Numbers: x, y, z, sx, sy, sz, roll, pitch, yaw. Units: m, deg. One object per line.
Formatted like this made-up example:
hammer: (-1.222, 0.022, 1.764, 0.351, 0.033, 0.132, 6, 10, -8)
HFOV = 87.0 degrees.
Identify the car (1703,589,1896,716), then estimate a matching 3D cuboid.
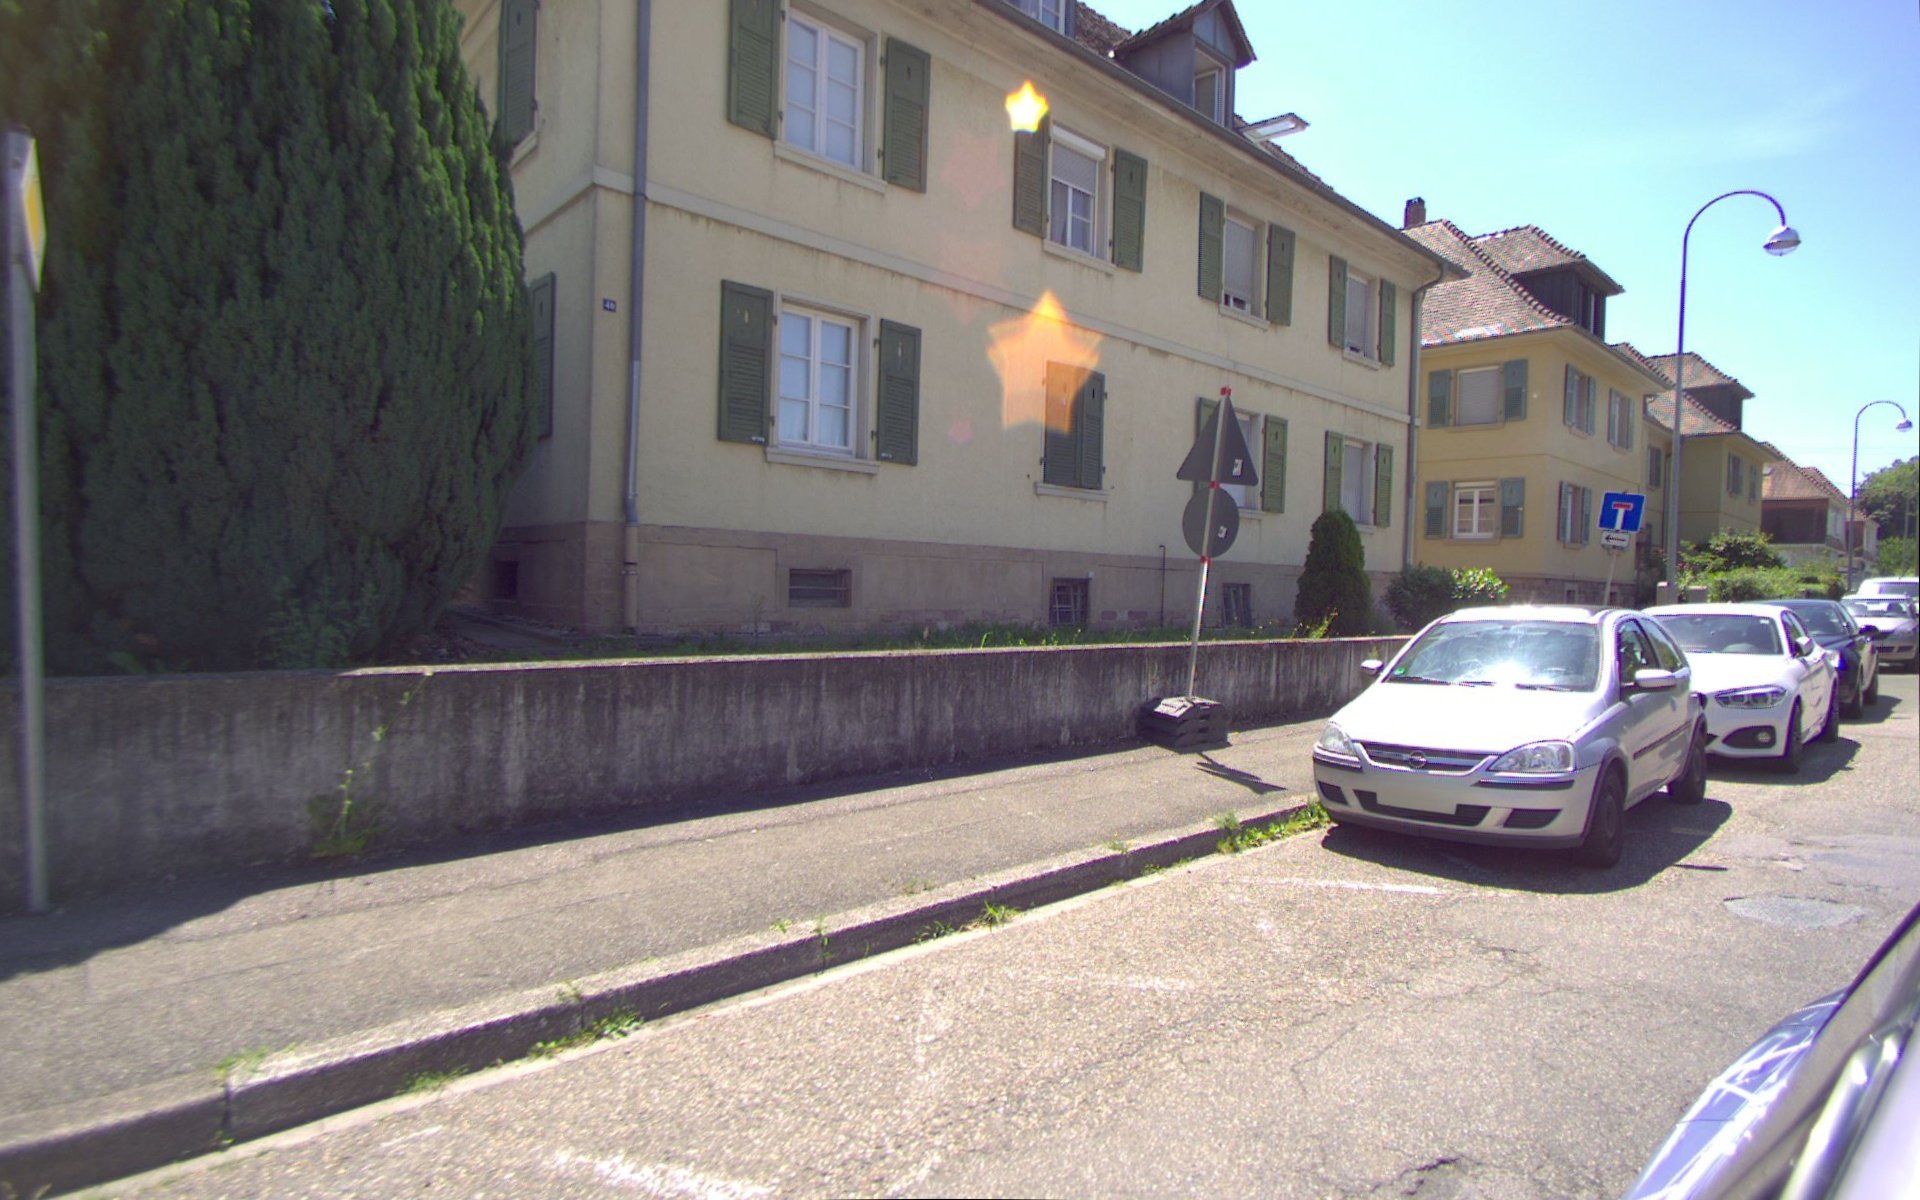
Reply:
car: (11.401, 0.598, 13.652, 3.934, 1.448, 1.597, -1, 0, -44)

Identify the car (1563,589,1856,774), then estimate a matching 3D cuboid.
car: (7.503, 0.634, 9.990, 3.933, 1.453, 1.668, -1, 0, -44)

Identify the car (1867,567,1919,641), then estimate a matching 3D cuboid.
car: (25.919, 0.070, 27.275, 4.613, 1.892, 1.849, -1, 1, -44)

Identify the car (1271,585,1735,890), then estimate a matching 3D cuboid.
car: (3.884, 0.657, 6.920, 3.934, 1.484, 1.667, -1, 0, -44)

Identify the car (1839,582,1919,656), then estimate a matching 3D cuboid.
car: (21.238, 0.373, 23.003, 3.935, 1.522, 1.597, -1, 1, -44)

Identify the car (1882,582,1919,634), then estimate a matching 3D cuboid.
car: (29.725, 0.202, 31.070, 4.266, 1.533, 1.803, -1, 1, -44)
